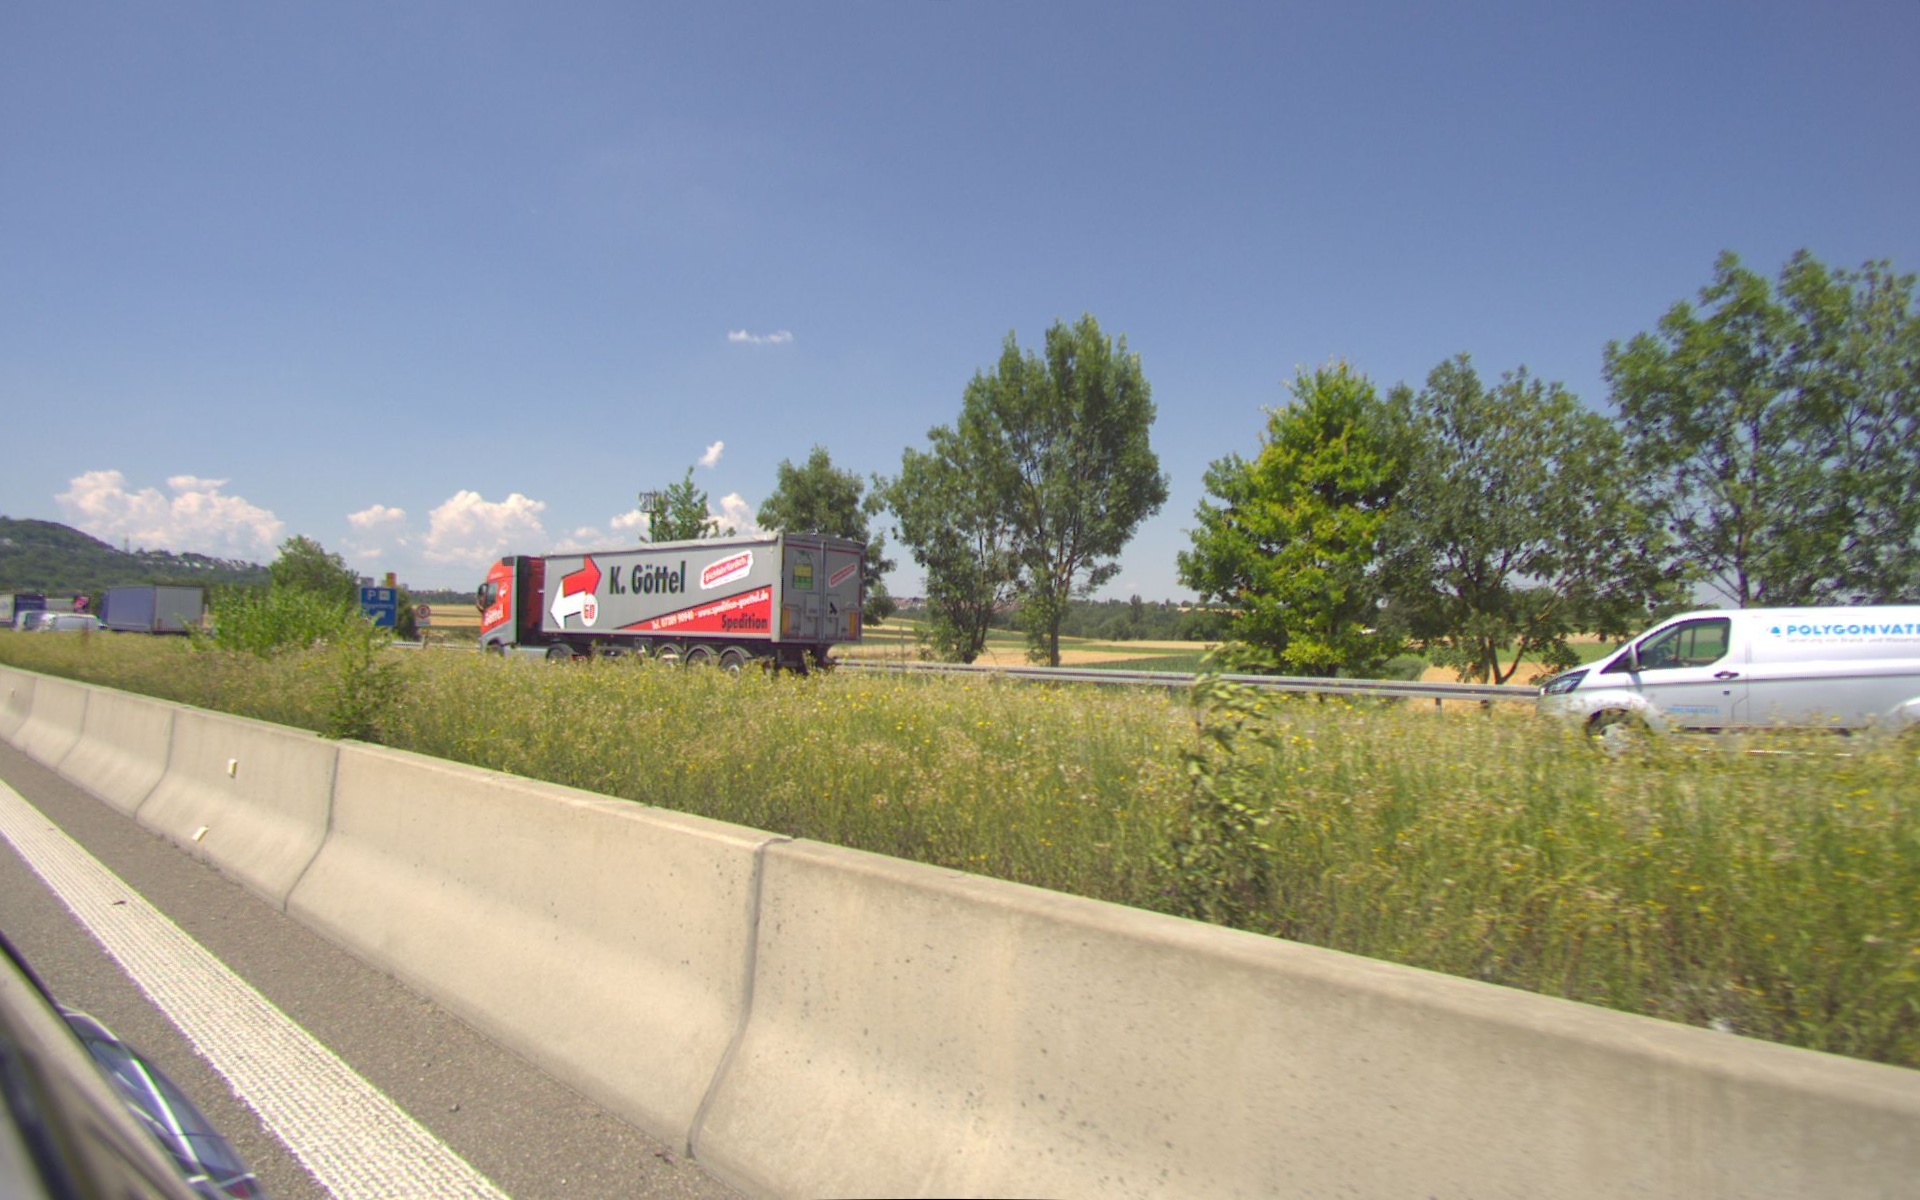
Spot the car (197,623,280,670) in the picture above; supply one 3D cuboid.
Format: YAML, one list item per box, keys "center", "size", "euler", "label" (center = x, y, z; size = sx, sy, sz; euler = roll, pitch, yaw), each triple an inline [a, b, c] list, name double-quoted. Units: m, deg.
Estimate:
- center: [-28.433, 1.784, 39.848]
  size: [4.258, 1.740, 1.677]
  euler: [-1, -2, 40]
  label: "car"

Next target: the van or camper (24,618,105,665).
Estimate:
- center: [-39.676, 1.801, 44.797]
  size: [5.198, 1.948, 1.973]
  euler: [-1, -2, 40]
  label: "van or camper"

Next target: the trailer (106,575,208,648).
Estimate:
- center: [-52.715, 0.854, 66.225]
  size: [13.637, 4.383, 2.852]
  euler: [-1, -2, 42]
  label: "trailer"

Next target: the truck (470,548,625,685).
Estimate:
- center: [-12.692, 0.553, 31.089]
  size: [3.998, 3.885, 2.826]
  euler: [-1, -3, 41]
  label: "truck"

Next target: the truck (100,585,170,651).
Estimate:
- center: [-57.277, 1.295, 70.228]
  size: [5.583, 4.383, 2.835]
  euler: [-1, -2, 41]
  label: "truck"

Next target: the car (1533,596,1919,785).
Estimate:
- center: [9.790, 0.997, 11.857]
  size: [5.114, 1.967, 1.744]
  euler: [-1, -4, 40]
  label: "car"

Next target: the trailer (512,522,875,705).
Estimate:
- center: [-7.511, 0.443, 26.571]
  size: [12.178, 3.885, 2.826]
  euler: [-1, -3, 41]
  label: "trailer"

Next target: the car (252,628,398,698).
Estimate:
- center: [-14.252, 1.345, 22.648]
  size: [3.812, 1.427, 1.677]
  euler: [-1, -2, 40]
  label: "car"

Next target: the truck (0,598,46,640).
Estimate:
- center: [-101.381, 2.076, 108.976]
  size: [14.115, 4.271, 2.565]
  euler: [-1, -4, 41]
  label: "truck"

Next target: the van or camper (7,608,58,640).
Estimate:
- center: [-67.729, 1.758, 73.855]
  size: [5.490, 2.291, 2.072]
  euler: [-1, -2, 40]
  label: "van or camper"

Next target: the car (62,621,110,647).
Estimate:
- center: [-52.354, 2.037, 60.618]
  size: [3.861, 1.475, 1.600]
  euler: [-1, -2, 40]
  label: "car"
